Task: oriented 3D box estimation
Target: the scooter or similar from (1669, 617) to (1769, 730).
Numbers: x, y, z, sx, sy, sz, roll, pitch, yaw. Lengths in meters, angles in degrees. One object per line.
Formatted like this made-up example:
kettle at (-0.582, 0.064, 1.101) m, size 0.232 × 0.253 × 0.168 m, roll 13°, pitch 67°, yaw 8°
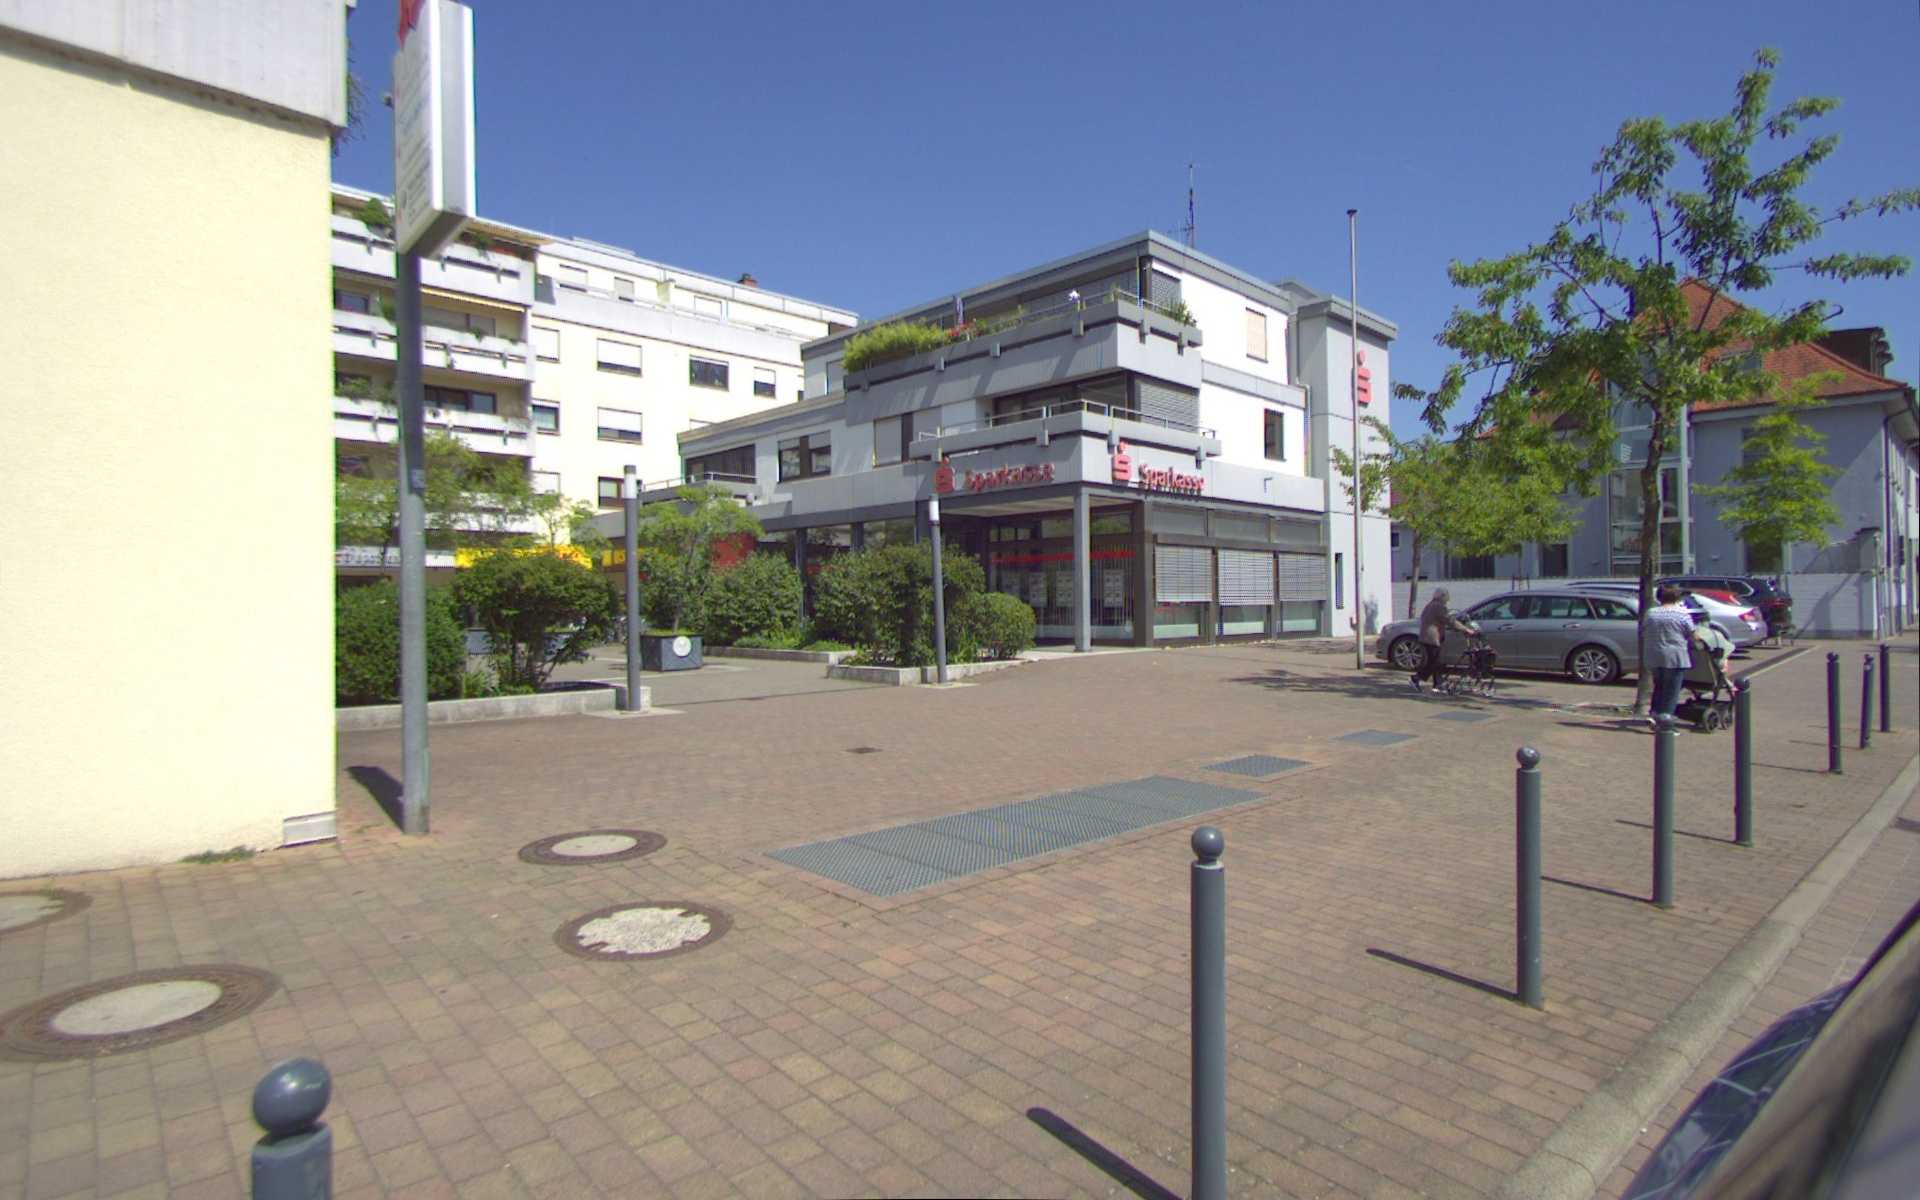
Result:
scooter or similar at (8.125, 0.767, 10.836) m, size 0.890 × 1.132 × 0.507 m, roll 0°, pitch 1°, yaw -27°

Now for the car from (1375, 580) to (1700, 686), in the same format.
car at (9.448, 0.440, 16.813) m, size 4.432 × 1.484 × 1.664 m, roll 2°, pitch 2°, yaw 44°

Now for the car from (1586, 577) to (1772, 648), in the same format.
car at (17.045, 0.267, 24.083) m, size 3.421 × 1.571 × 1.467 m, roll 0°, pitch 0°, yaw 45°

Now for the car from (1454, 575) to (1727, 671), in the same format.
car at (11.546, 0.332, 18.695) m, size 4.033 × 1.579 × 1.686 m, roll 1°, pitch 1°, yaw 43°

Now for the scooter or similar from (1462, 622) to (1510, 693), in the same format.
scooter or similar at (7.344, 0.790, 14.146) m, size 0.540 × 0.958 × 0.532 m, roll 0°, pitch 0°, yaw 23°

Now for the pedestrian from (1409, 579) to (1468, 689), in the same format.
pedestrian at (6.785, 0.469, 14.380) m, size 0.715 × 1.520 × 0.528 m, roll 0°, pitch 0°, yaw 22°

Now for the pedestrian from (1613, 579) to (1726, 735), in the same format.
pedestrian at (7.309, 0.556, 10.422) m, size 1.027 × 1.535 × 0.514 m, roll 0°, pitch 0°, yaw -27°

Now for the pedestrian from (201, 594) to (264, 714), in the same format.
pedestrian at (-9.408, 0.673, 13.085) m, size 0.594 × 1.482 × 0.794 m, roll 0°, pitch 0°, yaw -40°

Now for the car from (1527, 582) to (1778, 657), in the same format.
car at (15.219, 0.351, 22.385) m, size 4.429 × 1.460 × 1.632 m, roll 1°, pitch 1°, yaw 42°

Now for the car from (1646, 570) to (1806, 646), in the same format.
car at (18.952, 0.152, 25.094) m, size 3.032 × 1.759 × 1.324 m, roll 1°, pitch 1°, yaw 44°
